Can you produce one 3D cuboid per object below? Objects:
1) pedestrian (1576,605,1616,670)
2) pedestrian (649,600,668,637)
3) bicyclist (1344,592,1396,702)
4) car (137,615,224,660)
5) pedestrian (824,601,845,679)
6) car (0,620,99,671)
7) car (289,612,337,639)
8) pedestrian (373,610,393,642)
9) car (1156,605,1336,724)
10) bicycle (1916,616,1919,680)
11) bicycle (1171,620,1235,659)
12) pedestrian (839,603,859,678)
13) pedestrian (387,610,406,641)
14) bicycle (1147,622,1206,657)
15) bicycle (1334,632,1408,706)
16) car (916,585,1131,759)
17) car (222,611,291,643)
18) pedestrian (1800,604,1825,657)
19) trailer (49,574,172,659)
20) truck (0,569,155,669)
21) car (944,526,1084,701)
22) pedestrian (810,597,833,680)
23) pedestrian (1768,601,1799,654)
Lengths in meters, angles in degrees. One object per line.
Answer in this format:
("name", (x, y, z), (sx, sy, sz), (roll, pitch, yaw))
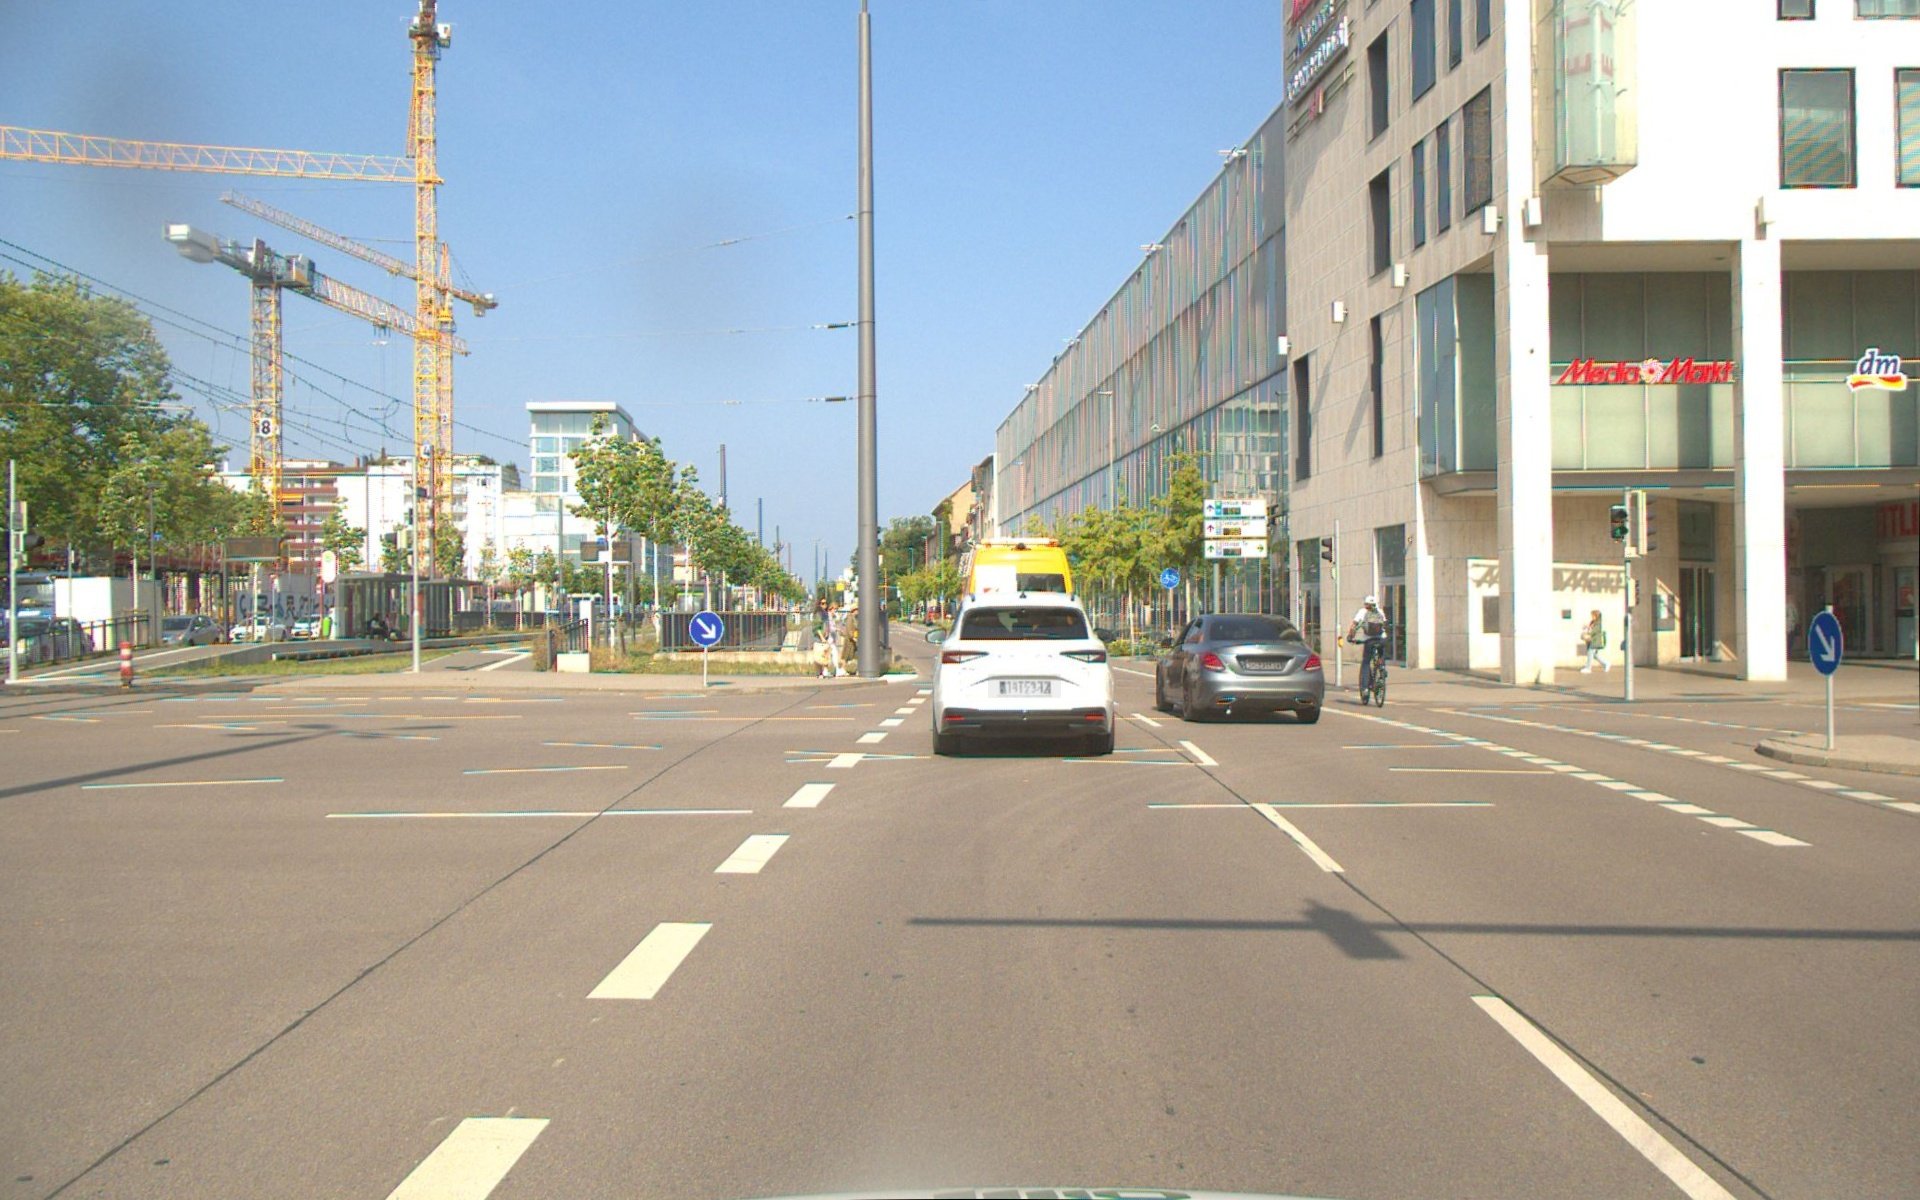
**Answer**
("pedestrian", (15.029, 0.891, 39.113), (0.693, 1.513, 0.604), (-1, 0, -2))
("pedestrian", (-13.329, 0.813, 73.126), (0.721, 1.647, 0.710), (0, -1, -5))
("bicyclist", (6.771, 0.768, 27.320), (0.638, 1.779, 0.769), (-1, 0, -2))
("car", (-30.560, 1.447, 64.965), (1.687, 1.691, 4.147), (0, 0, -4))
("pedestrian", (-2.731, 0.856, 36.072), (0.458, 1.679, 0.777), (0, 0, -4))
("car", (-29.101, 1.415, 52.480), (1.611, 1.495, 4.398), (-1, 0, -5))
("car", (-37.194, 1.440, 95.150), (1.565, 1.489, 3.431), (0, 0, -4))
("pedestrian", (-23.901, 1.080, 68.553), (0.667, 1.323, 0.591), (-1, 0, -8))
("car", (3.838, 0.819, 22.844), (1.724, 1.461, 4.114), (1, 0, 0))
("bicycle", (19.369, 0.941, 31.899), (0.601, 1.259, 2.069), (0, -1, -2))
("bicycle", (7.387, 1.202, 50.296), (1.802, 1.132, 0.686), (1, 0, -3))
("pedestrian", (-2.513, 0.908, 37.395), (0.458, 1.679, 0.777), (0, 0, -4))
("pedestrian", (-24.302, 1.079, 71.342), (0.667, 1.323, 0.591), (-1, 0, -8))
("bicycle", (7.121, 1.305, 54.462), (1.840, 1.129, 0.490), (0, 0, -3))
("bicycle", (6.776, 1.116, 27.366), (0.647, 1.137, 2.050), (-1, 0, -2))
("car", (0.542, 0.671, 17.388), (1.833, 1.602, 3.997), (0, 0, -4))
("car", (-36.510, 1.368, 85.945), (1.756, 1.609, 4.613), (0, 0, -3))
("pedestrian", (22.154, 0.778, 43.004), (0.384, 1.364, 0.455), (0, 0, -4))
("trailer", (-29.913, 0.581, 58.430), (2.004, 2.829, 5.016), (1, -1, -5))
("truck", (-35.266, 0.719, 65.177), (2.960, 3.649, 8.887), (-1, 0, -2))
("car", (0.862, 0.207, 29.838), (1.980, 2.845, 5.396), (0, 0, -4))
("pedestrian", (-2.836, 0.777, 33.913), (0.458, 1.679, 0.777), (0, 0, -4))
("pedestrian", (21.961, 0.736, 44.111), (0.553, 1.408, 0.492), (0, 0, -9))
